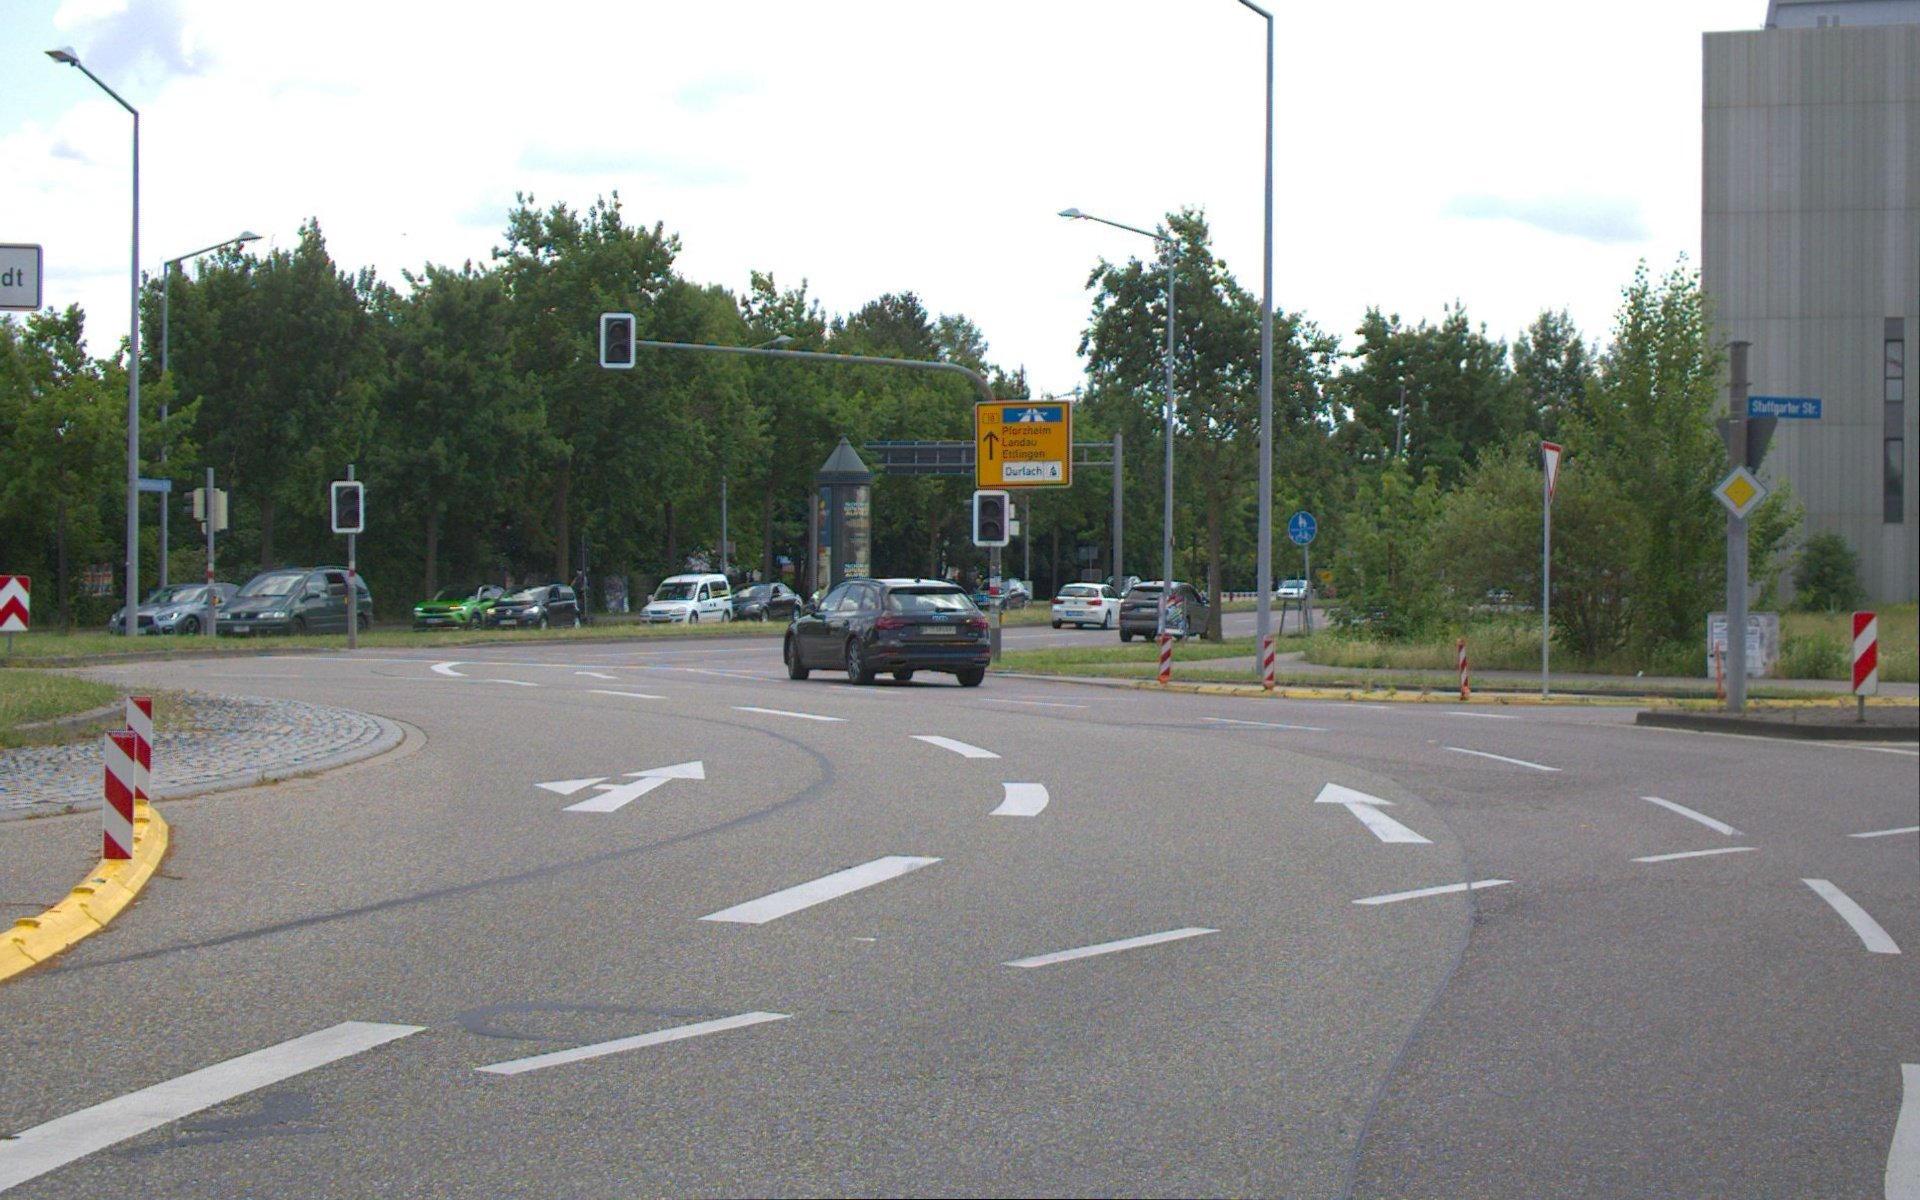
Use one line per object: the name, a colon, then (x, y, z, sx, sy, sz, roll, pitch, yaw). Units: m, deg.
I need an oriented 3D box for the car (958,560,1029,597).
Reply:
car: (1.475, -0.910, 147.904, 1.724, 1.585, 5.009, 0, 0, 17)

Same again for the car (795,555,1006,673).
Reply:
car: (-0.864, 0.161, 46.823, 1.683, 1.458, 4.001, 2, 1, -19)

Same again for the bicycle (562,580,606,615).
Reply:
bicycle: (-13.275, -0.094, 121.377, 0.761, 1.215, 2.015, 3, 1, 17)

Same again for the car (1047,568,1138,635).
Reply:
car: (4.194, 0.042, 107.902, 1.995, 2.007, 3.997, 2, 1, 14)

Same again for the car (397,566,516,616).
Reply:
car: (-14.114, -0.238, 96.605, 1.617, 1.344, 4.167, -1, 0, 18)

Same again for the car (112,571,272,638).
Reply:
car: (-17.076, 0.080, 76.634, 1.906, 1.418, 4.189, 1, 1, 12)

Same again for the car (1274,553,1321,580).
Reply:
car: (18.468, -1.850, 188.105, 1.764, 1.435, 4.305, 0, 0, 17)

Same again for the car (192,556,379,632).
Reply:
car: (-14.542, -0.129, 74.348, 1.909, 1.587, 4.588, 1, 0, 19)

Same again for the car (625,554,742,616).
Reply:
car: (-8.405, -0.450, 104.952, 1.839, 1.793, 4.783, -1, 0, 18)

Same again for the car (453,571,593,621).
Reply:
car: (-11.955, -0.104, 94.396, 1.839, 1.306, 4.783, -1, 0, 19)

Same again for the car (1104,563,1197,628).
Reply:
car: (5.255, -0.140, 94.231, 1.994, 1.620, 4.308, -1, 2, 11)

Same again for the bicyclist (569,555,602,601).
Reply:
bicyclist: (-13.231, -0.774, 121.417, 0.830, 1.559, 0.883, 3, 1, 17)
